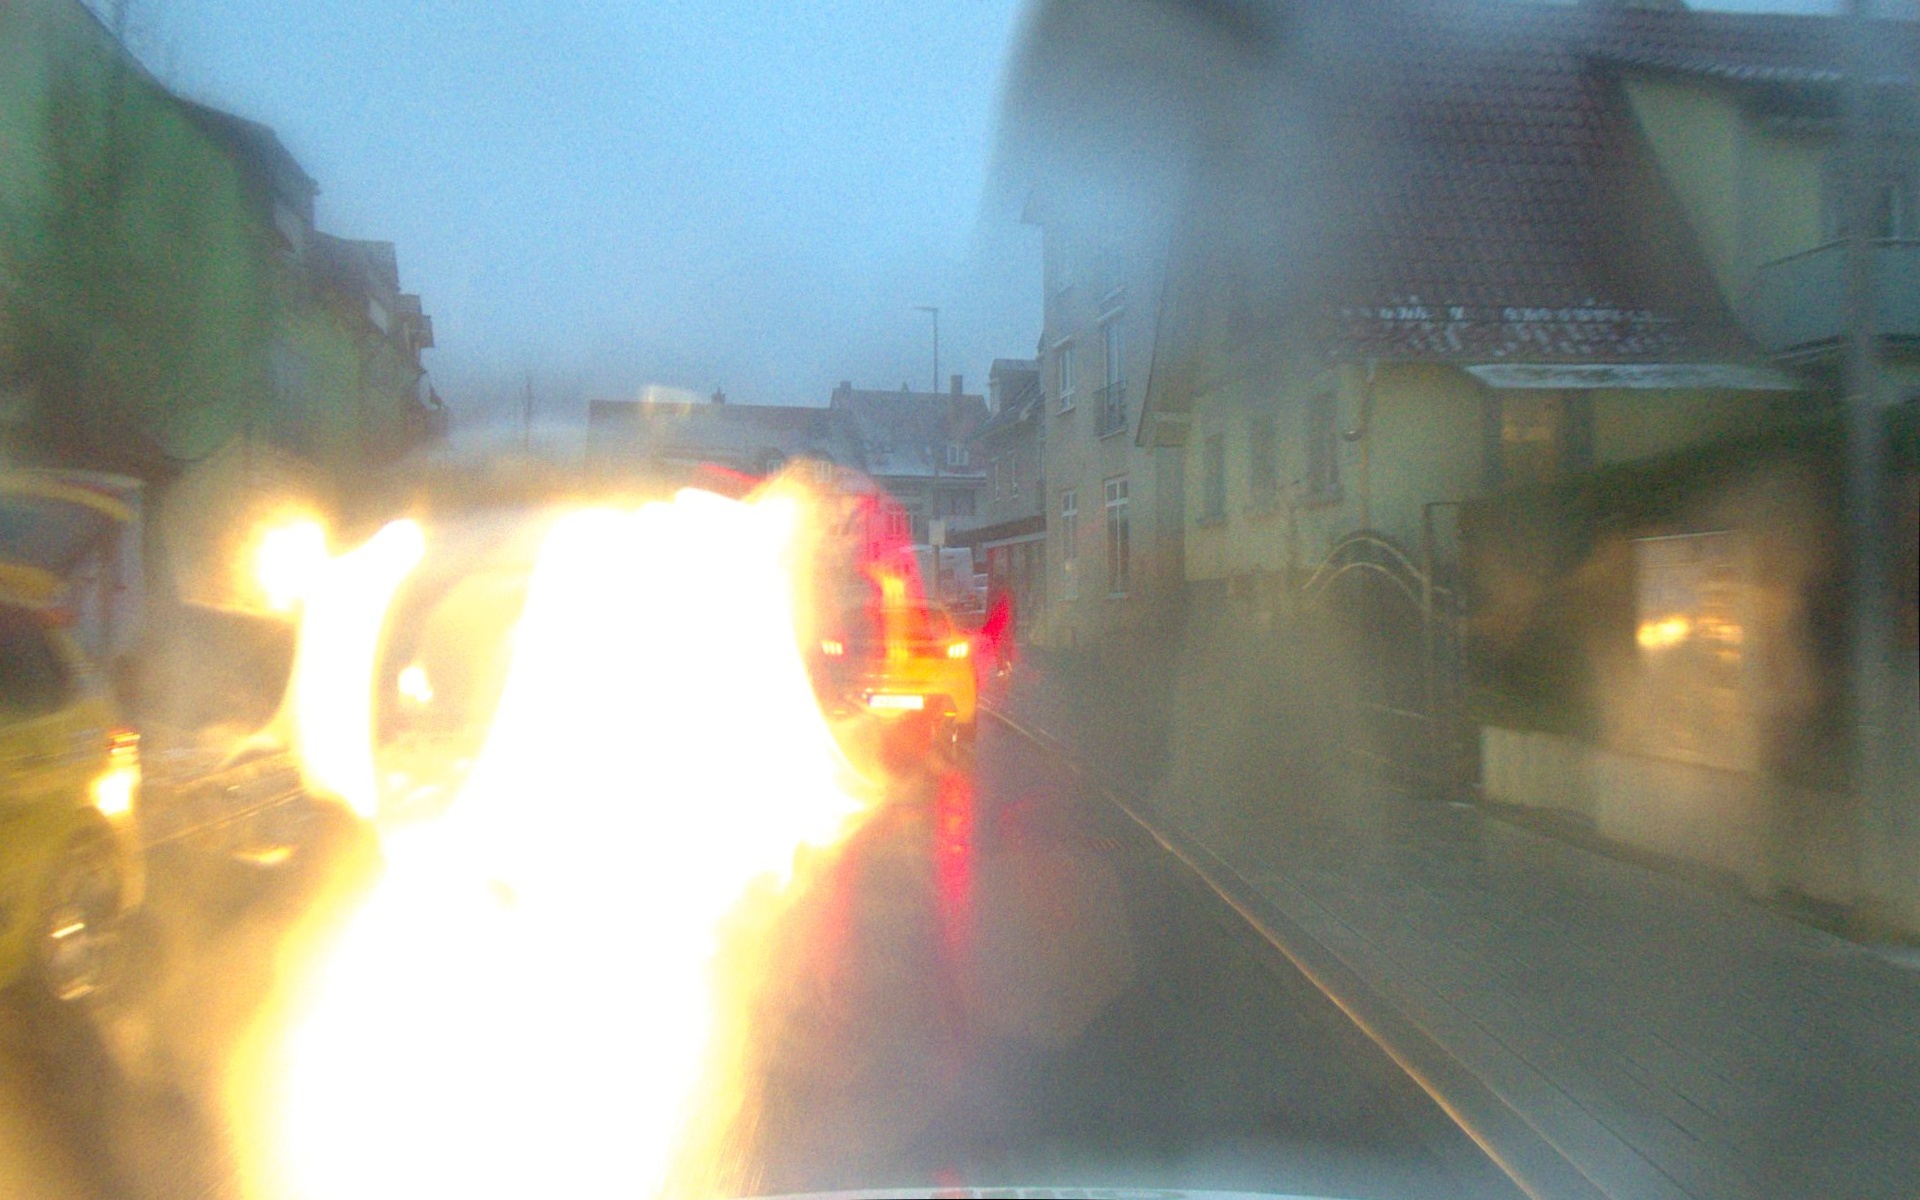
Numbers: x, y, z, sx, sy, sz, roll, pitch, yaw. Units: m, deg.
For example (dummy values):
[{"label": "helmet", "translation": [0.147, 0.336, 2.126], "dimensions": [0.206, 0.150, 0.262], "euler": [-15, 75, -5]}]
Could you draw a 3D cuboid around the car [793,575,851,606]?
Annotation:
[{"label": "car", "translation": [-7.221, -0.528, 86.435], "dimensions": [1.797, 1.487, 4.520], "euler": [-2, 2, -21]}]

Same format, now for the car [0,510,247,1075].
[{"label": "car", "translation": [-3.864, 0.575, 4.519], "dimensions": [1.954, 1.735, 4.963], "euler": [2, 2, -4]}]

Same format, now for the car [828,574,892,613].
[{"label": "car", "translation": [-4.543, -0.272, 74.784], "dimensions": [1.962, 1.639, 4.155], "euler": [-2, 0, -17]}]

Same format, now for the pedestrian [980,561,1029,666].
[{"label": "pedestrian", "translation": [0.759, 0.217, 28.351], "dimensions": [0.731, 1.759, 0.872], "euler": [0, 1, -6]}]

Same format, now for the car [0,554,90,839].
[{"label": "car", "translation": [-6.696, 0.579, 8.782], "dimensions": [1.843, 1.740, 4.709], "euler": [1, 0, -3]}]

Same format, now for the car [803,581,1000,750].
[{"label": "car", "translation": [-0.730, 0.611, 17.416], "dimensions": [1.779, 1.560, 3.995], "euler": [1, 0, -6]}]

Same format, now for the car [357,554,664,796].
[{"label": "car", "translation": [-3.650, 0.478, 14.236], "dimensions": [1.915, 1.573, 4.409], "euler": [-2, 3, -8]}]

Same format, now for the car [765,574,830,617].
[{"label": "car", "translation": [-7.326, -0.224, 74.279], "dimensions": [1.964, 1.795, 4.327], "euler": [-2, 1, -19]}]

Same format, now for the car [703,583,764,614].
[{"label": "car", "translation": [-11.357, -0.097, 82.875], "dimensions": [1.867, 1.488, 3.597], "euler": [-1, 1, -30]}]

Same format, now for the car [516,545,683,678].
[{"label": "car", "translation": [-4.662, 0.082, 21.908], "dimensions": [1.822, 1.583, 4.250], "euler": [0, 1, -8]}]

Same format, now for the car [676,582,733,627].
[{"label": "car", "translation": [-9.644, 0.162, 62.159], "dimensions": [1.958, 1.616, 3.989], "euler": [1, 0, -11]}]

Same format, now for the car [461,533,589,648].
[{"label": "car", "translation": [-10.825, -0.192, 41.678], "dimensions": [2.440, 2.605, 6.746], "euler": [1, -1, -9]}]

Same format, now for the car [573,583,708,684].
[{"label": "car", "translation": [-5.478, 0.521, 28.839], "dimensions": [1.955, 1.583, 4.252], "euler": [0, 1, -7]}]

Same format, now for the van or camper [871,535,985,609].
[{"label": "van or camper", "translation": [-1.538, -1.272, 75.715], "dimensions": [2.618, 3.100, 6.681], "euler": [-4, 2, -25]}]
